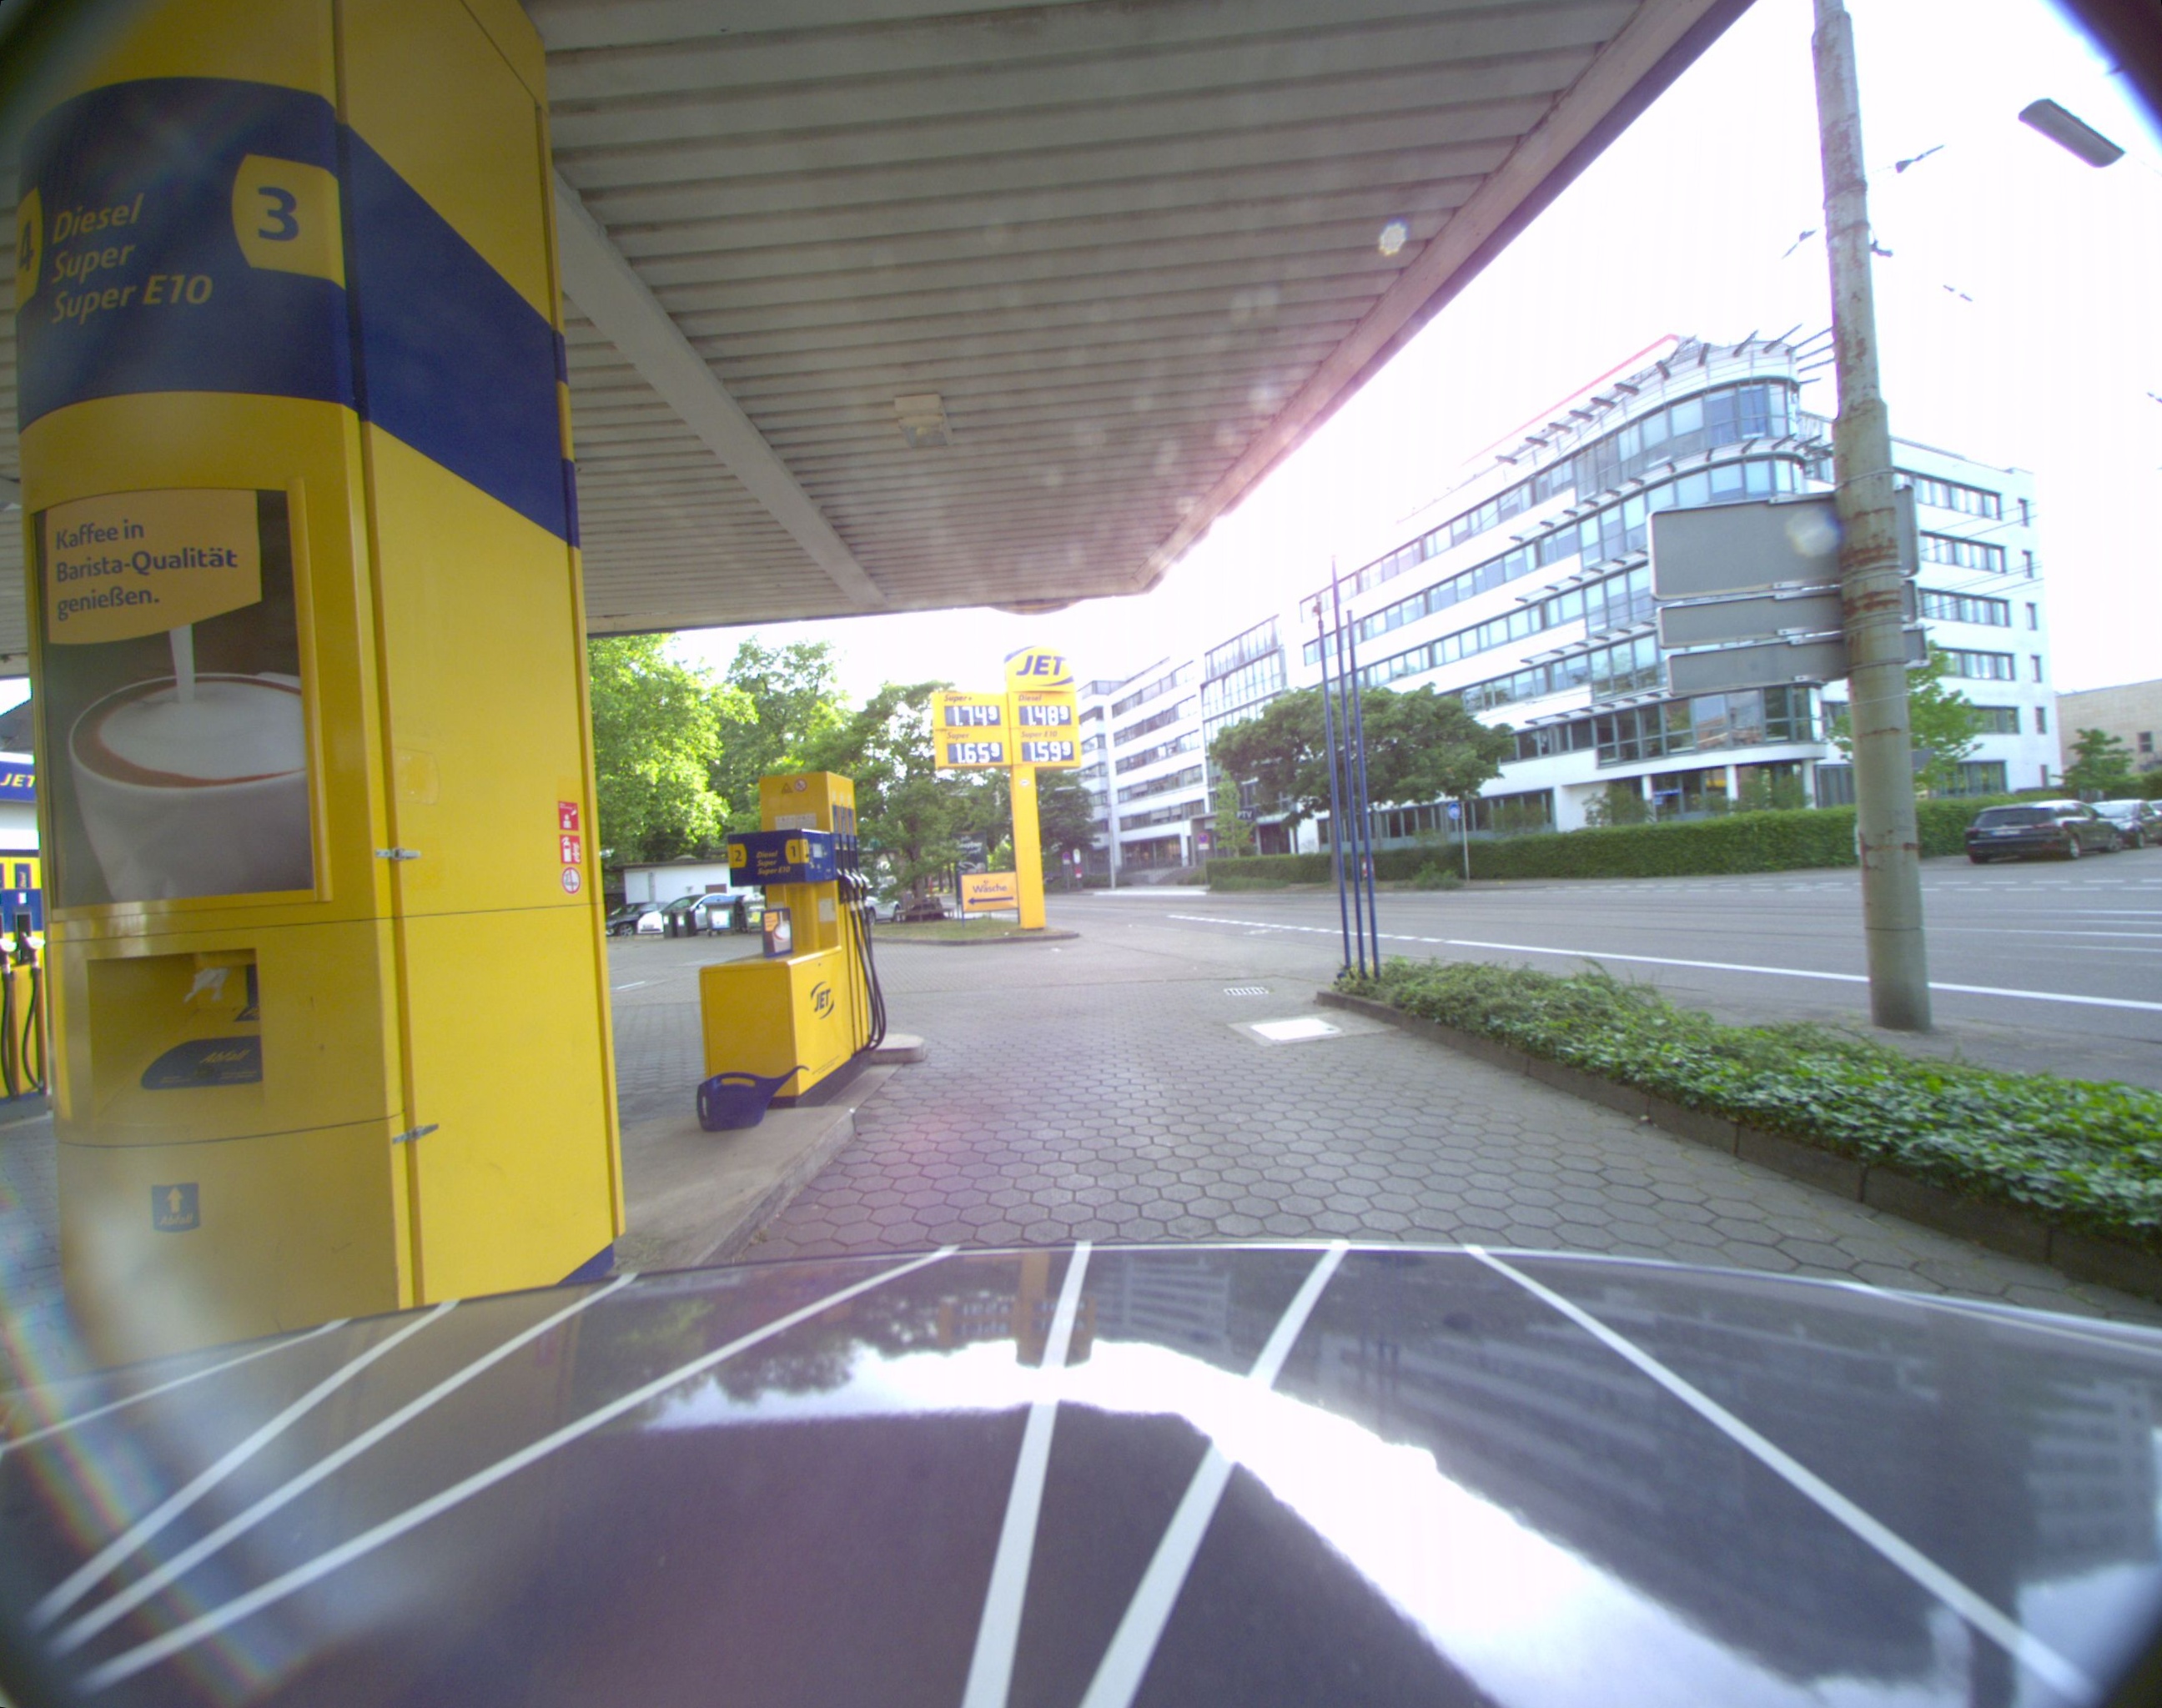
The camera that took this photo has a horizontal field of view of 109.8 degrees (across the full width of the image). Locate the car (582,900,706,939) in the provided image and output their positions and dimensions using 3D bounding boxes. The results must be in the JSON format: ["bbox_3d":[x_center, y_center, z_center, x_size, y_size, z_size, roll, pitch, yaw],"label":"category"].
[{"bbox_3d":[-17.749,2.634,31.071,1.745,1.269,4.230,-5,-3,19],"label":"car"}]

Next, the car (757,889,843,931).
[{"bbox_3d":[-11.805,2.326,32.243,1.739,1.500,4.004,-4,-2,6],"label":"car"}]

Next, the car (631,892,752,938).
[{"bbox_3d":[-15.363,2.386,30.255,1.785,1.514,4.229,-4,-3,17],"label":"car"}]

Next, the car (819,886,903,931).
[{"bbox_3d":[-8.689,2.119,30.381,1.739,1.500,4.003,-4,-2,6],"label":"car"}]

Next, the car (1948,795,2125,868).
[{"bbox_3d":[27.373,-0.645,21.767,4.438,1.603,1.976,-5,-1,-23],"label":"car"}]

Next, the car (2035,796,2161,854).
[{"bbox_3d":[32.488,-0.936,24.038,4.109,1.544,1.786,-4,-1,-23],"label":"car"}]

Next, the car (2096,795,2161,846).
[{"bbox_3d":[37.148,-1.230,26.075,4.109,1.544,1.786,-4,-1,-23],"label":"car"}]
